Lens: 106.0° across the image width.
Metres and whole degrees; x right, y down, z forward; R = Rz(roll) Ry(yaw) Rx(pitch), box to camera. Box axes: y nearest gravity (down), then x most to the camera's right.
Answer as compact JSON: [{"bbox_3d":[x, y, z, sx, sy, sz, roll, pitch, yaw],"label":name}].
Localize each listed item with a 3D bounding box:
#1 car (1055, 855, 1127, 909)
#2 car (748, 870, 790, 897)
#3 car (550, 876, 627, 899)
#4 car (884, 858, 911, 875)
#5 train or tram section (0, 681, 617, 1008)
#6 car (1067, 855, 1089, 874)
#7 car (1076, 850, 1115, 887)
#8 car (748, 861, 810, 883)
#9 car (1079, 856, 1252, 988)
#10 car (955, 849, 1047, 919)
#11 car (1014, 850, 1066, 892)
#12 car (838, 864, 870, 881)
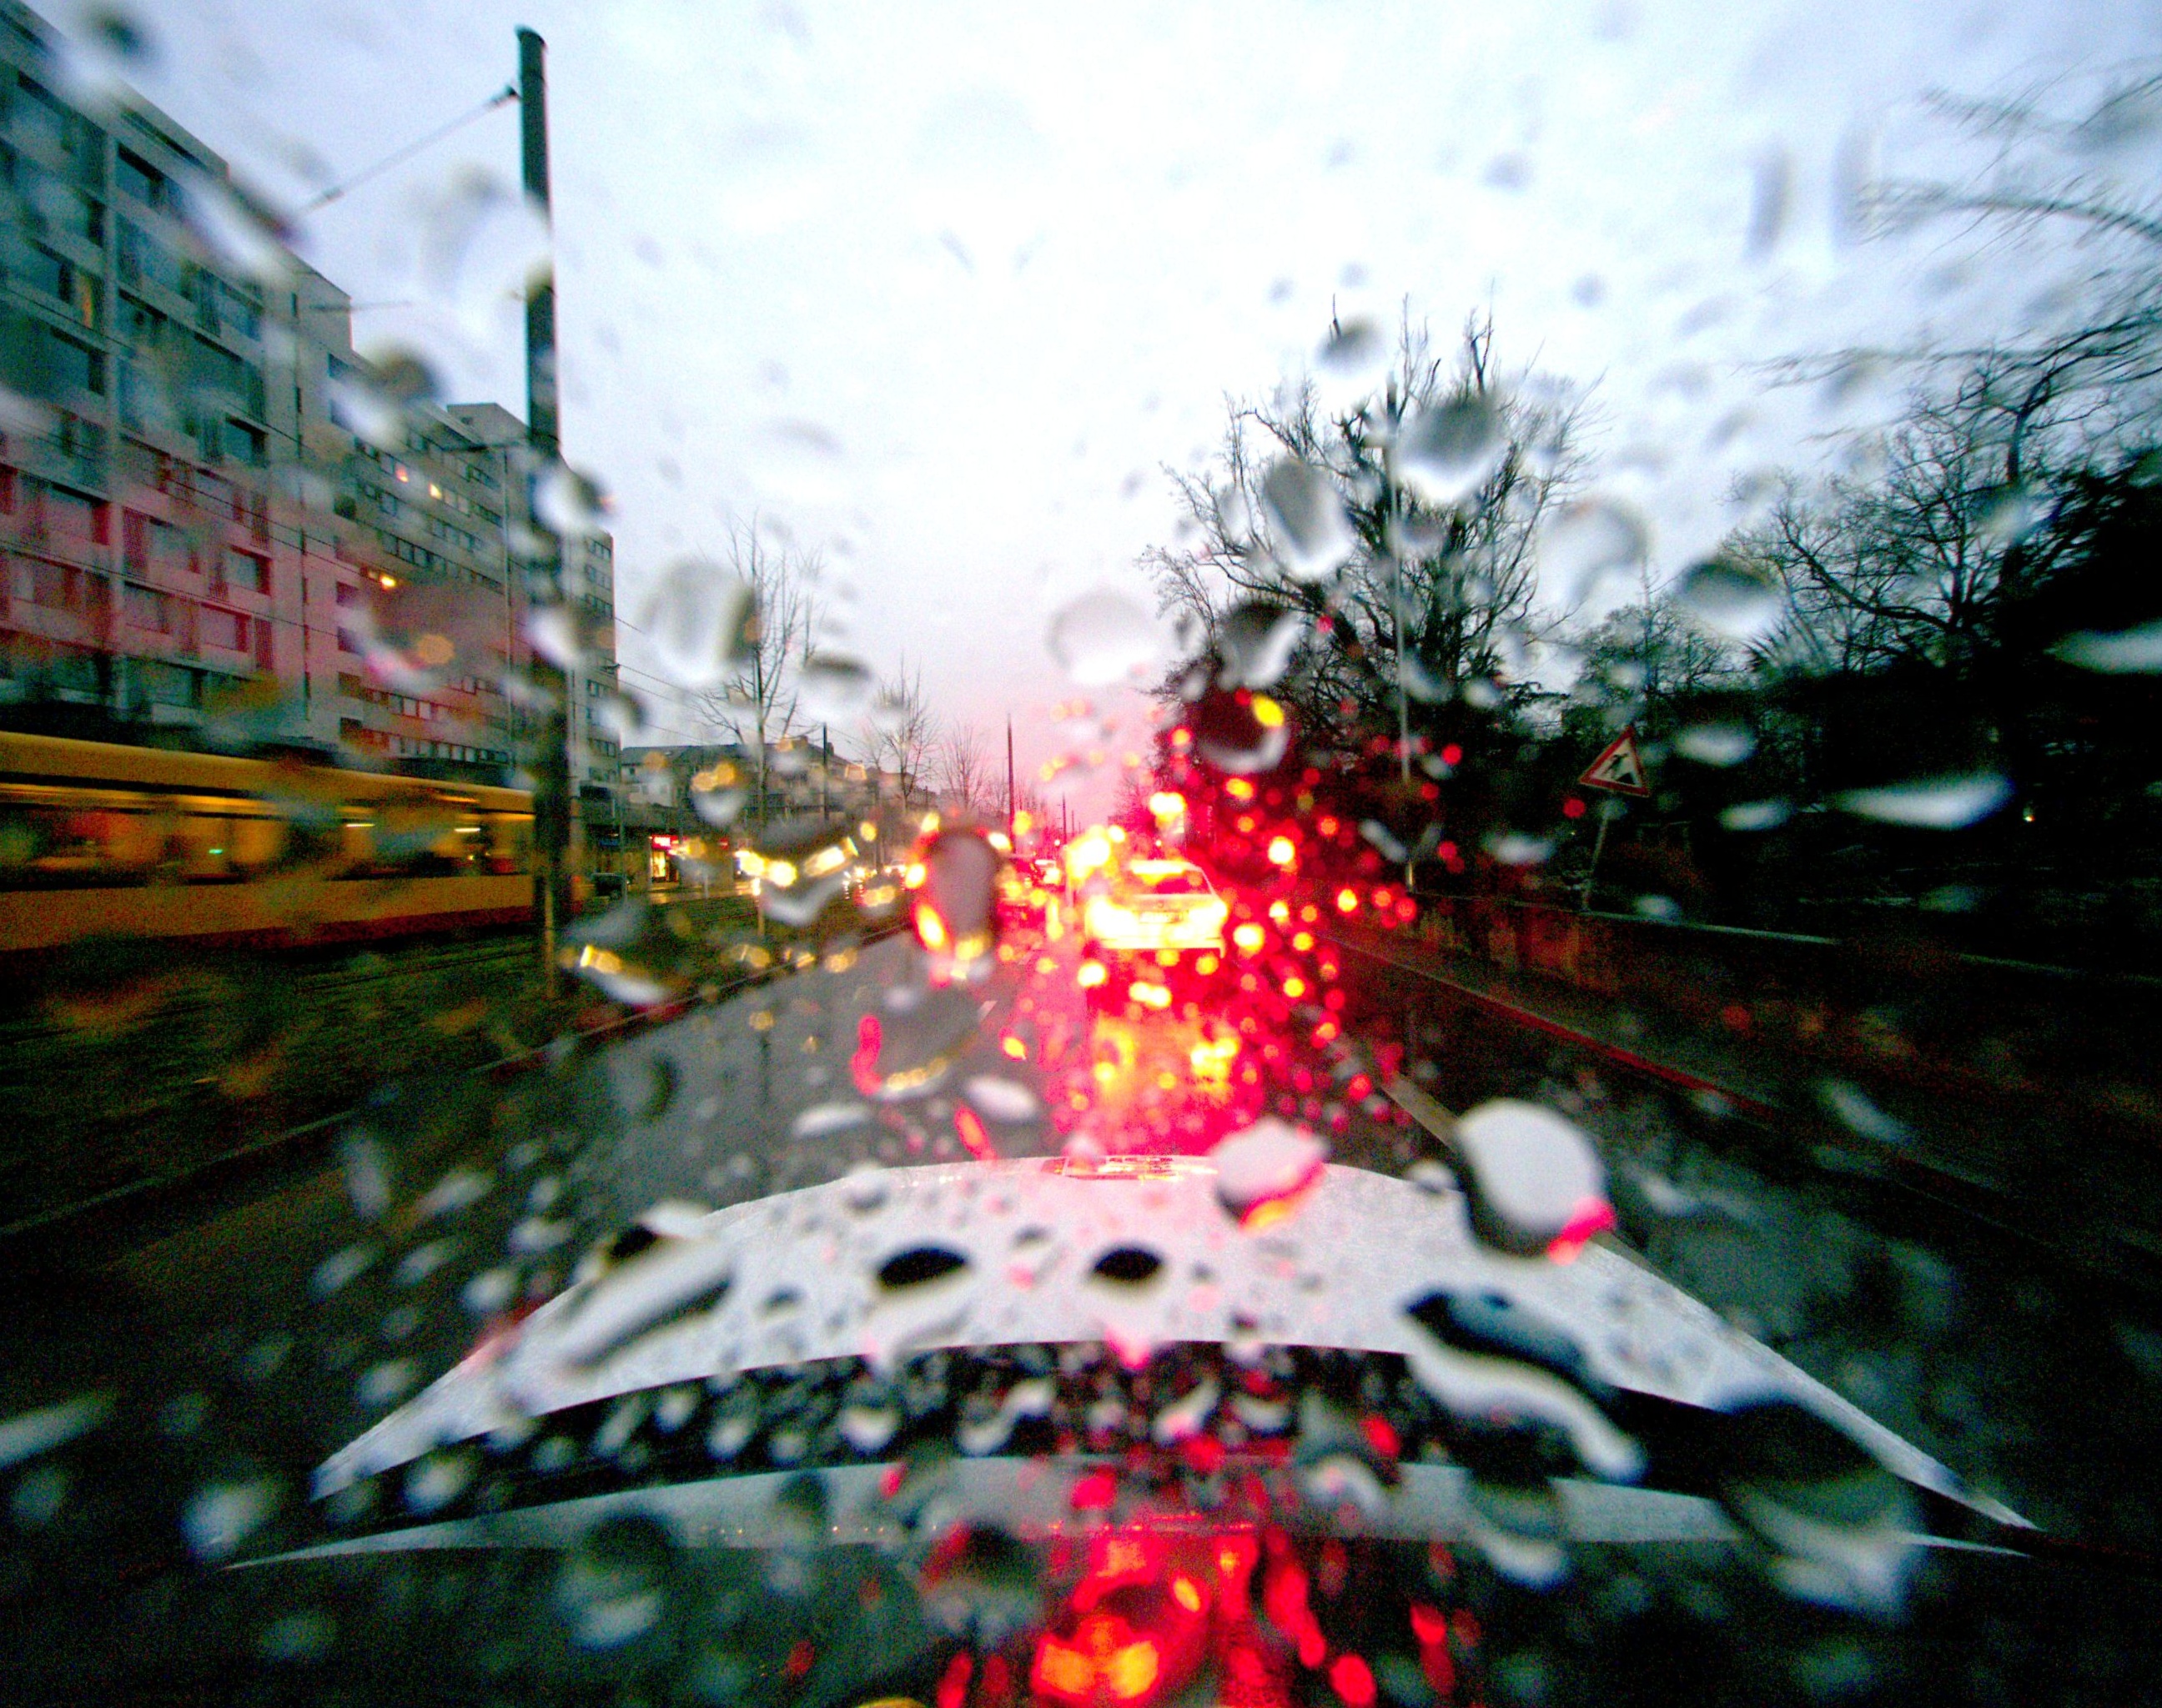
[{"bbox_3d":[0.357,0.767,24.339,1.928,1.457,4.165,-1,0,2],"label":"car"},{"bbox_3d":[-24.138,2.265,63.044,1.717,1.885,3.924,-2,0,-1],"label":"car"},{"bbox_3d":[-30.310,2.039,50.165,4.014,1.387,1.917,1,-1,-33],"label":"car"},{"bbox_3d":[-19.846,1.297,88.366,1.891,1.719,5.113,-2,0,-2],"label":"car"},{"bbox_3d":[-12.855,-0.058,12.306,2.945,3.487,14.273,-2,0,2],"label":"train or tram section"},{"bbox_3d":[-0.277,0.901,73.387,1.799,1.646,4.002,-1,0,2],"label":"car"},{"bbox_3d":[0.757,0.668,39.479,1.799,1.646,4.002,-1,0,2],"label":"car"},{"bbox_3d":[-29.164,1.753,78.795,5.193,1.912,1.975,-2,0,-43],"label":"car"},{"bbox_3d":[1.066,0.803,11.584,1.991,1.508,4.165,-1,0,2],"label":"car"},{"bbox_3d":[-1.952,0.702,21.072,1.799,1.646,4.002,-1,0,2],"label":"car"},{"bbox_3d":[-1.792,0.739,36.701,1.986,1.755,4.001,0,0,2],"label":"car"},{"bbox_3d":[-20.277,1.652,72.882,1.891,1.431,3.704,-2,0,-2],"label":"car"}]
